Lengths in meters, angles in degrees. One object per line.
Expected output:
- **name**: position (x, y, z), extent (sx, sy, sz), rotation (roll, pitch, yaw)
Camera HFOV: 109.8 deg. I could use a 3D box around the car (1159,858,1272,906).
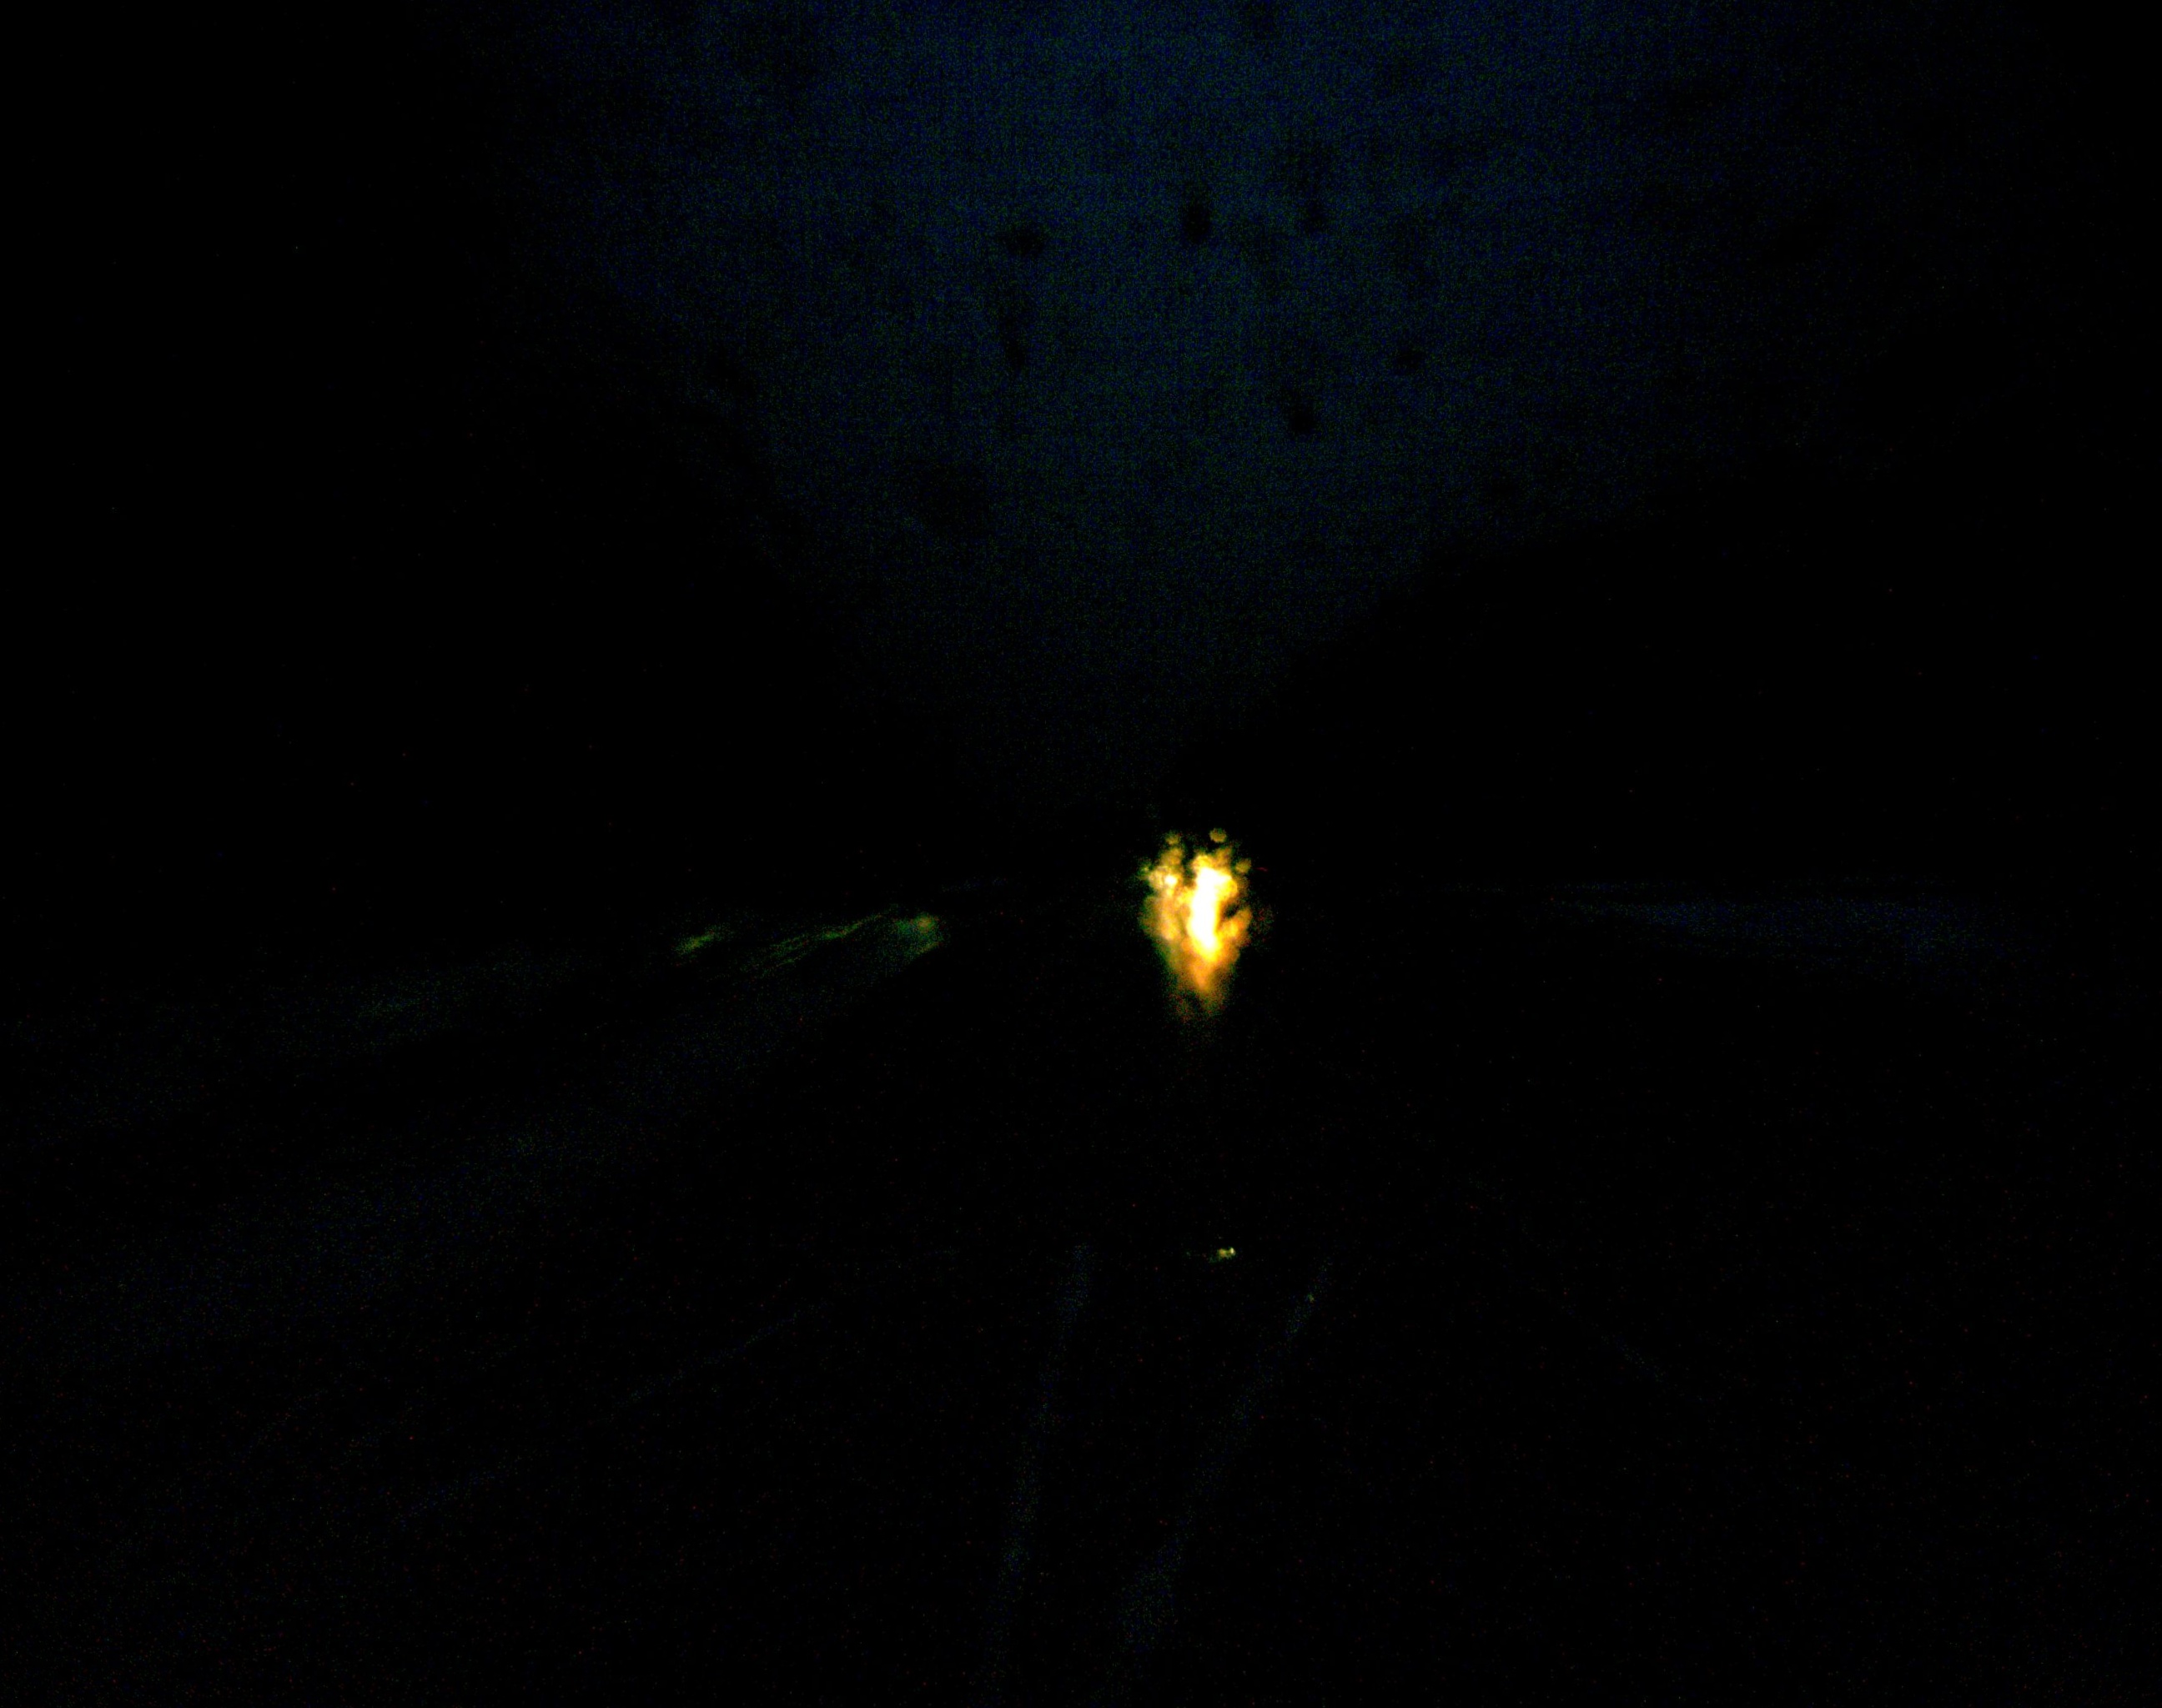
- **car**: position (4.429, 0.874, 24.780), extent (3.684, 1.425, 1.722), rotation (0, -1, -43)
